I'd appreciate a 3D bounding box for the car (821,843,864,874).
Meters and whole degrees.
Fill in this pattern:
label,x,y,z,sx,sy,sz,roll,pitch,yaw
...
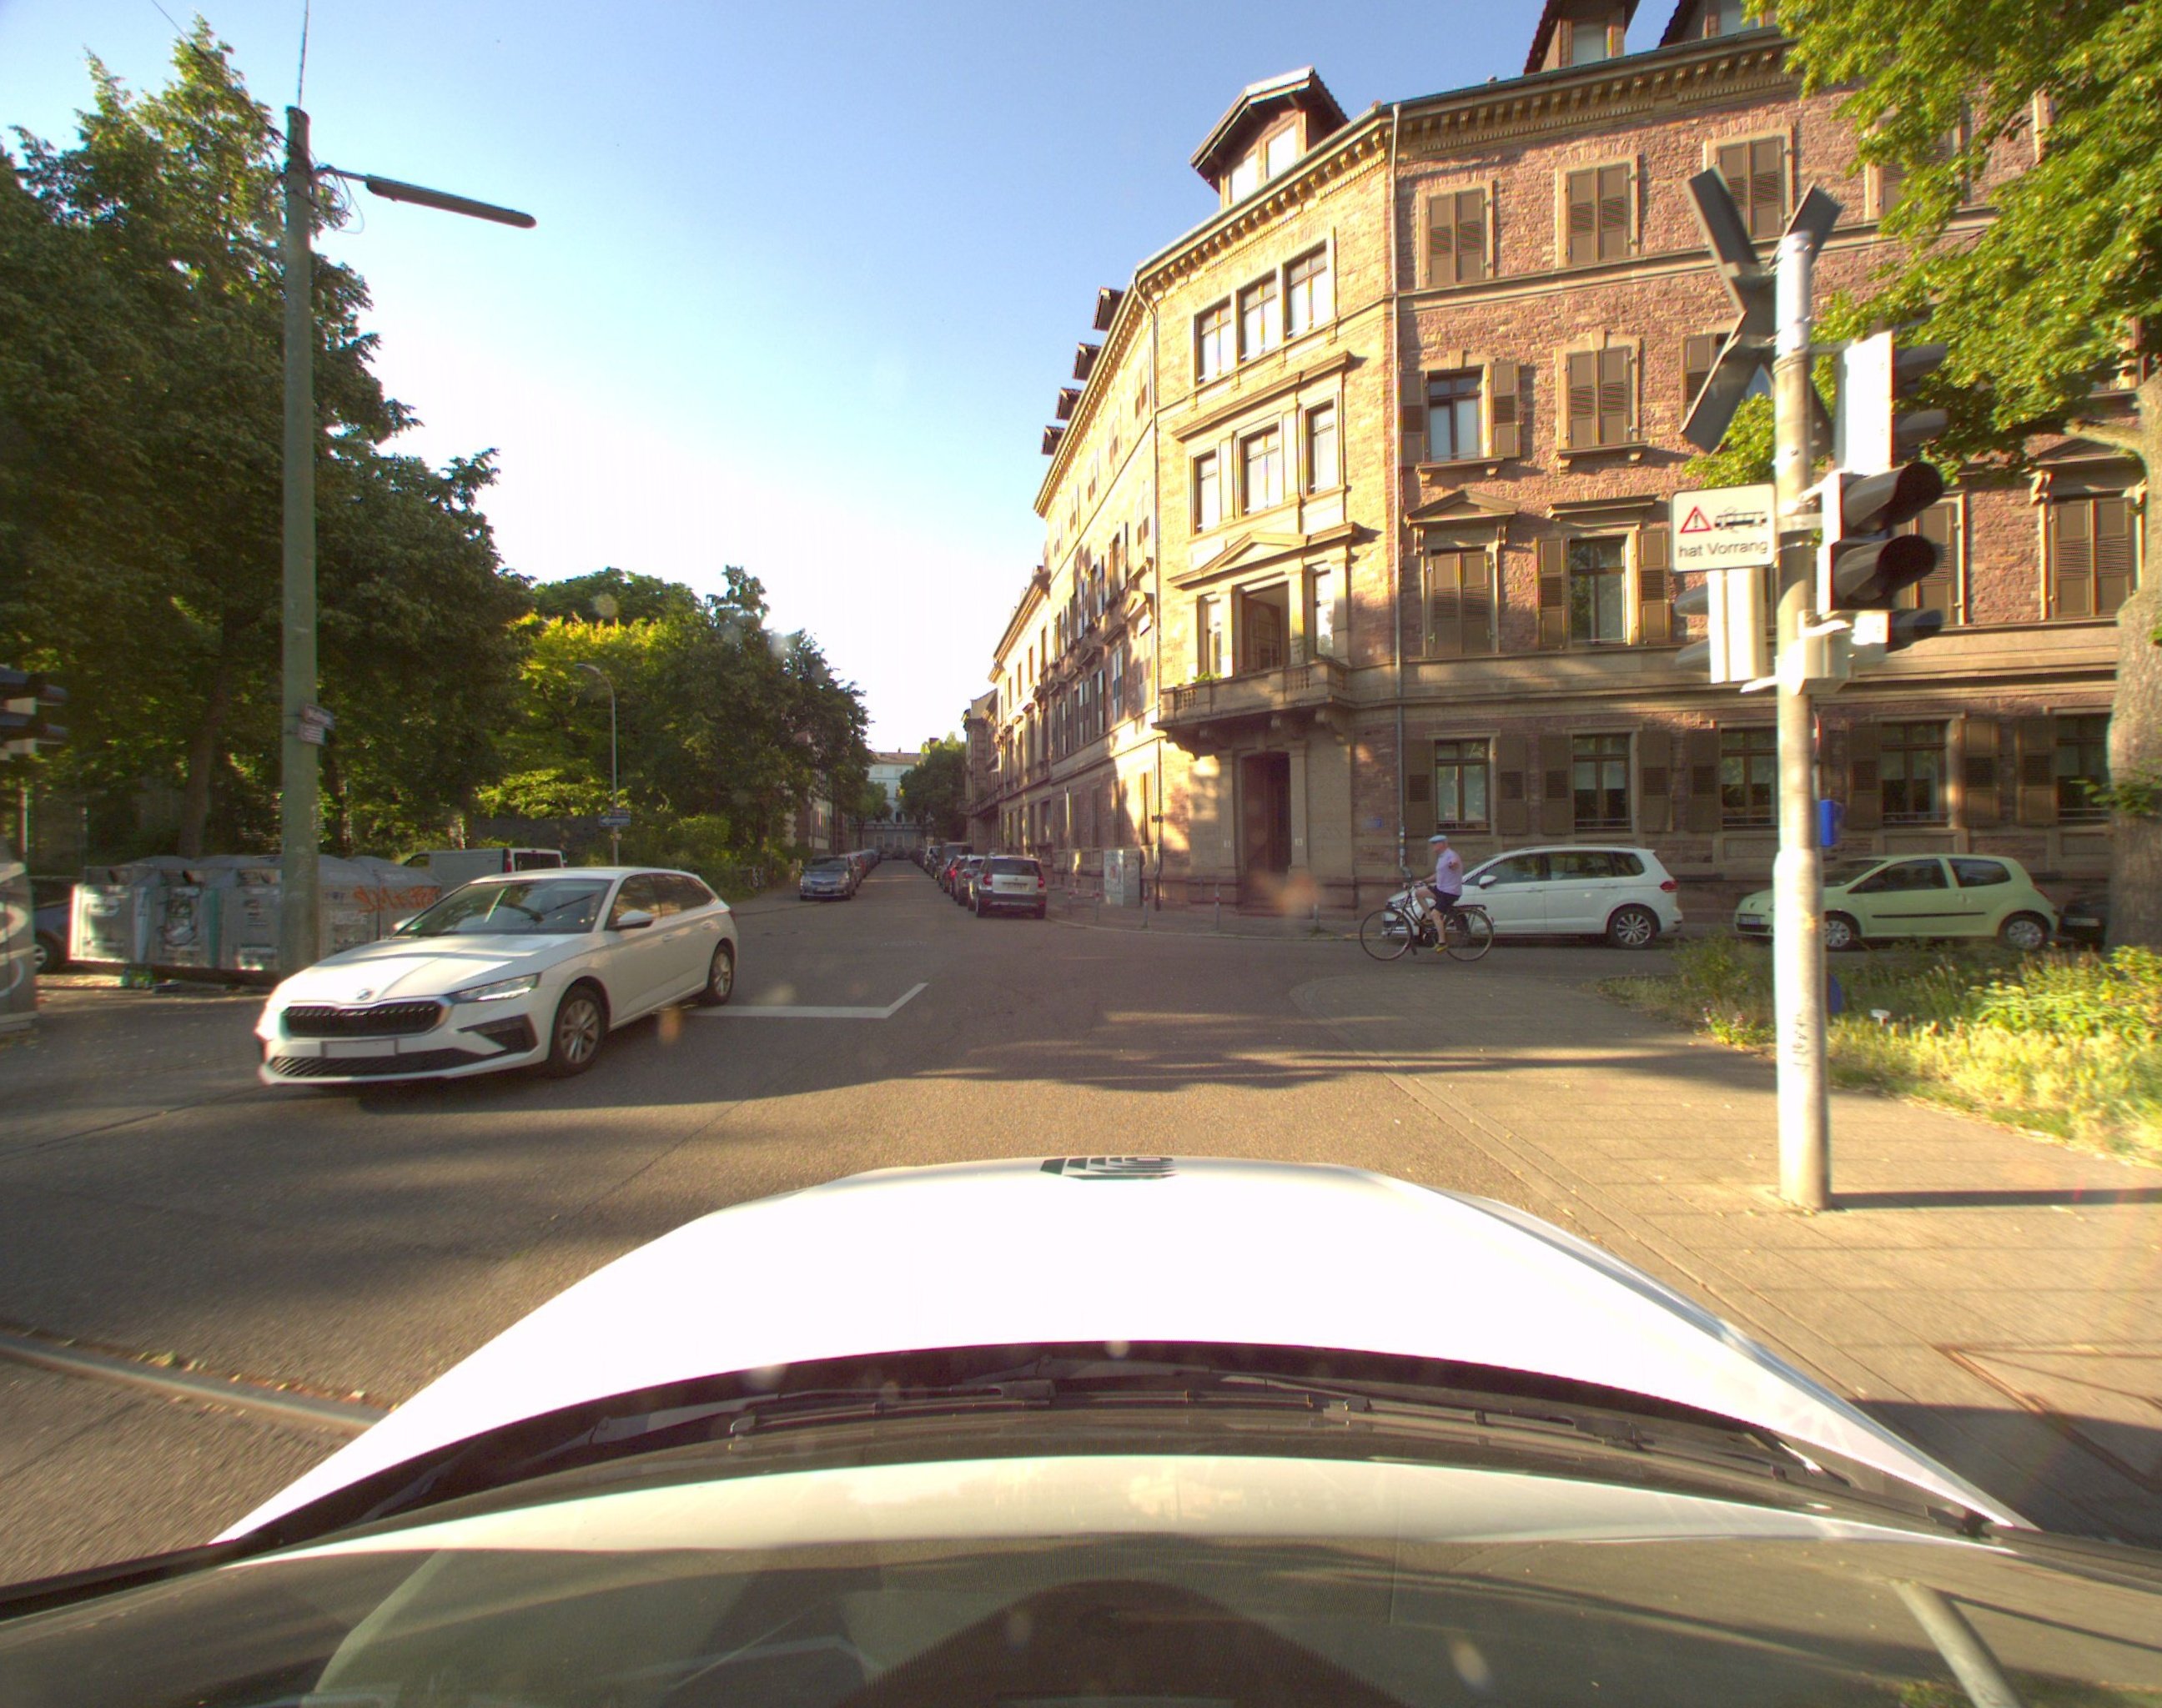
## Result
label,x,y,z,sx,sy,sz,roll,pitch,yaw
car,-12.380,0.218,42.498,1.827,1.478,3.915,2,0,-12

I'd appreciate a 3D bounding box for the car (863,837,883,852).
label,x,y,z,sx,sy,sz,roll,pitch,yaw
car,-21.787,-1.023,85.316,1.827,1.500,3.915,2,0,-12

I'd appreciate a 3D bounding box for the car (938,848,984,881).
label,x,y,z,sx,sy,sz,roll,pitch,yaw
car,-5.572,0.457,37.473,1.799,1.345,3.938,2,1,-13

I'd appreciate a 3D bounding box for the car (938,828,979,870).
label,x,y,z,sx,sy,sz,roll,pitch,yaw
car,-6.562,-0.298,43.297,1.799,2.072,3.938,2,0,-13

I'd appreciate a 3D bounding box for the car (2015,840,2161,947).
label,x,y,z,sx,sy,sz,roll,pitch,yaw
car,16.842,0.555,11.784,4.122,1.490,1.748,0,-1,13

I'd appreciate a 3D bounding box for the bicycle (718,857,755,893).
label,x,y,z,sx,sy,sz,roll,pitch,yaw
bicycle,-11.827,0.699,28.006,0.597,1.101,2.618,-1,1,-11

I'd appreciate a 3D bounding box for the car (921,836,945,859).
label,x,y,z,sx,sy,sz,roll,pitch,yaw
car,-12.860,-0.577,70.637,1.799,1.838,3.938,2,1,-13

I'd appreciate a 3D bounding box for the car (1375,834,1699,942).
label,x,y,z,sx,sy,sz,roll,pitch,yaw
car,7.451,0.557,13.825,4.452,1.650,1.881,0,-1,13

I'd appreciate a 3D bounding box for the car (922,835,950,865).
label,x,y,z,sx,sy,sz,roll,pitch,yaw
car,-10.616,-0.313,59.589,1.799,2.072,3.938,2,0,-13

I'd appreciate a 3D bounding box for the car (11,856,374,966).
label,x,y,z,sx,sy,sz,roll,pitch,yaw
car,-14.022,0.830,13.162,1.587,1.520,3.757,0,-1,44

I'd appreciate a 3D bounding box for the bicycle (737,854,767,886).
label,x,y,z,sx,sy,sz,roll,pitch,yaw
bicycle,-12.366,0.562,30.659,0.597,1.101,2.616,-1,1,-13

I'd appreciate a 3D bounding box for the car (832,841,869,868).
label,x,y,z,sx,sy,sz,roll,pitch,yaw
car,-13.770,0.019,48.785,1.827,1.500,3.915,2,0,-12

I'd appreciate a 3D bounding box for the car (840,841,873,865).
label,x,y,z,sx,sy,sz,roll,pitch,yaw
car,-15.191,-0.100,55.238,1.827,1.500,3.915,2,0,-12

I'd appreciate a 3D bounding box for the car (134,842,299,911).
label,x,y,z,sx,sy,sz,roll,pitch,yaw
car,-25.100,0.623,23.671,3.860,1.903,1.583,-1,1,15

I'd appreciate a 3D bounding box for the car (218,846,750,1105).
label,x,y,z,sx,sy,sz,roll,pitch,yaw
car,-4.376,0.699,6.914,1.699,1.456,4.057,-1,1,-4

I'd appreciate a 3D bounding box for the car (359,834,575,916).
label,x,y,z,sx,sy,sz,roll,pitch,yaw
car,-16.122,0.516,21.459,4.612,2.003,1.957,-1,1,12

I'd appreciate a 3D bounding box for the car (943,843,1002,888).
label,x,y,z,sx,sy,sz,roll,pitch,yaw
car,-4.387,0.407,32.346,1.801,1.614,3.935,2,1,-15

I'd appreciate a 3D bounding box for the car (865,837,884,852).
label,x,y,z,sx,sy,sz,roll,pitch,yaw
car,-22.874,-1.079,90.278,1.827,1.500,3.915,2,0,-12

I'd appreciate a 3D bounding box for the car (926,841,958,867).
label,x,y,z,sx,sy,sz,roll,pitch,yaw
car,-9.254,-0.038,54.068,1.799,1.622,3.938,2,1,-13

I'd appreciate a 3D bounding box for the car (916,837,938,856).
label,x,y,z,sx,sy,sz,roll,pitch,yaw
car,-14.329,-0.714,75.765,1.799,1.727,3.938,2,1,-13

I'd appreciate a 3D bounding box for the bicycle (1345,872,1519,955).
label,x,y,z,sx,sy,sz,roll,pitch,yaw
bicycle,4.860,0.813,11.382,2.107,1.054,0.702,1,1,4

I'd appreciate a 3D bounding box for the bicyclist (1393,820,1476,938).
label,x,y,z,sx,sy,sz,roll,pitch,yaw
bicyclist,4.915,0.326,11.372,0.867,1.588,0.702,1,1,4

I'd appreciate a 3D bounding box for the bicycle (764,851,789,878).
label,x,y,z,sx,sy,sz,roll,pitch,yaw
bicycle,-13.799,0.455,36.987,0.597,1.101,2.617,-1,1,-11

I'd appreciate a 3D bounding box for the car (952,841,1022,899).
label,x,y,z,sx,sy,sz,roll,pitch,yaw
car,-3.232,0.476,27.336,1.827,1.723,4.524,2,0,-12

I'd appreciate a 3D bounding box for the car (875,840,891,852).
label,x,y,z,sx,sy,sz,roll,pitch,yaw
car,-28.627,-1.154,117.731,1.999,1.684,3.975,0,-1,-18

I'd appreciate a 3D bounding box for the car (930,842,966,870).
label,x,y,z,sx,sy,sz,roll,pitch,yaw
car,-7.989,0.078,48.686,1.799,1.523,3.938,2,1,-13

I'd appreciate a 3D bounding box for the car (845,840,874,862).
label,x,y,z,sx,sy,sz,roll,pitch,yaw
car,-16.329,-0.274,60.178,1.827,1.500,3.915,2,0,-12

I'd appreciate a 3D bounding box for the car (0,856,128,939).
label,x,y,z,sx,sy,sz,roll,pitch,yaw
car,-19.863,0.758,14.489,1.587,1.447,3.640,0,-1,44

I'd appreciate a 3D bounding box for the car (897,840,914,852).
label,x,y,z,sx,sy,sz,roll,pitch,yaw
car,-25.695,-1.170,118.887,1.999,1.684,3.975,0,-1,-18

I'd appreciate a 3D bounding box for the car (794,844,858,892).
label,x,y,z,sx,sy,sz,roll,pitch,yaw
car,-9.522,0.482,30.694,1.827,1.615,4.273,2,0,-12

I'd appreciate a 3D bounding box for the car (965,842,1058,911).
label,x,y,z,sx,sy,sz,roll,pitch,yaw
car,-2.013,0.555,22.458,1.918,1.657,4.168,2,0,-13

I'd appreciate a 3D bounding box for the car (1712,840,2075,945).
label,x,y,z,sx,sy,sz,roll,pitch,yaw
car,12.533,0.578,12.834,3.688,1.490,1.747,0,-1,11

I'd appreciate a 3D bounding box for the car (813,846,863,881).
label,x,y,z,sx,sy,sz,roll,pitch,yaw
car,-11.009,0.406,37.125,1.827,1.447,3.915,2,0,-12
